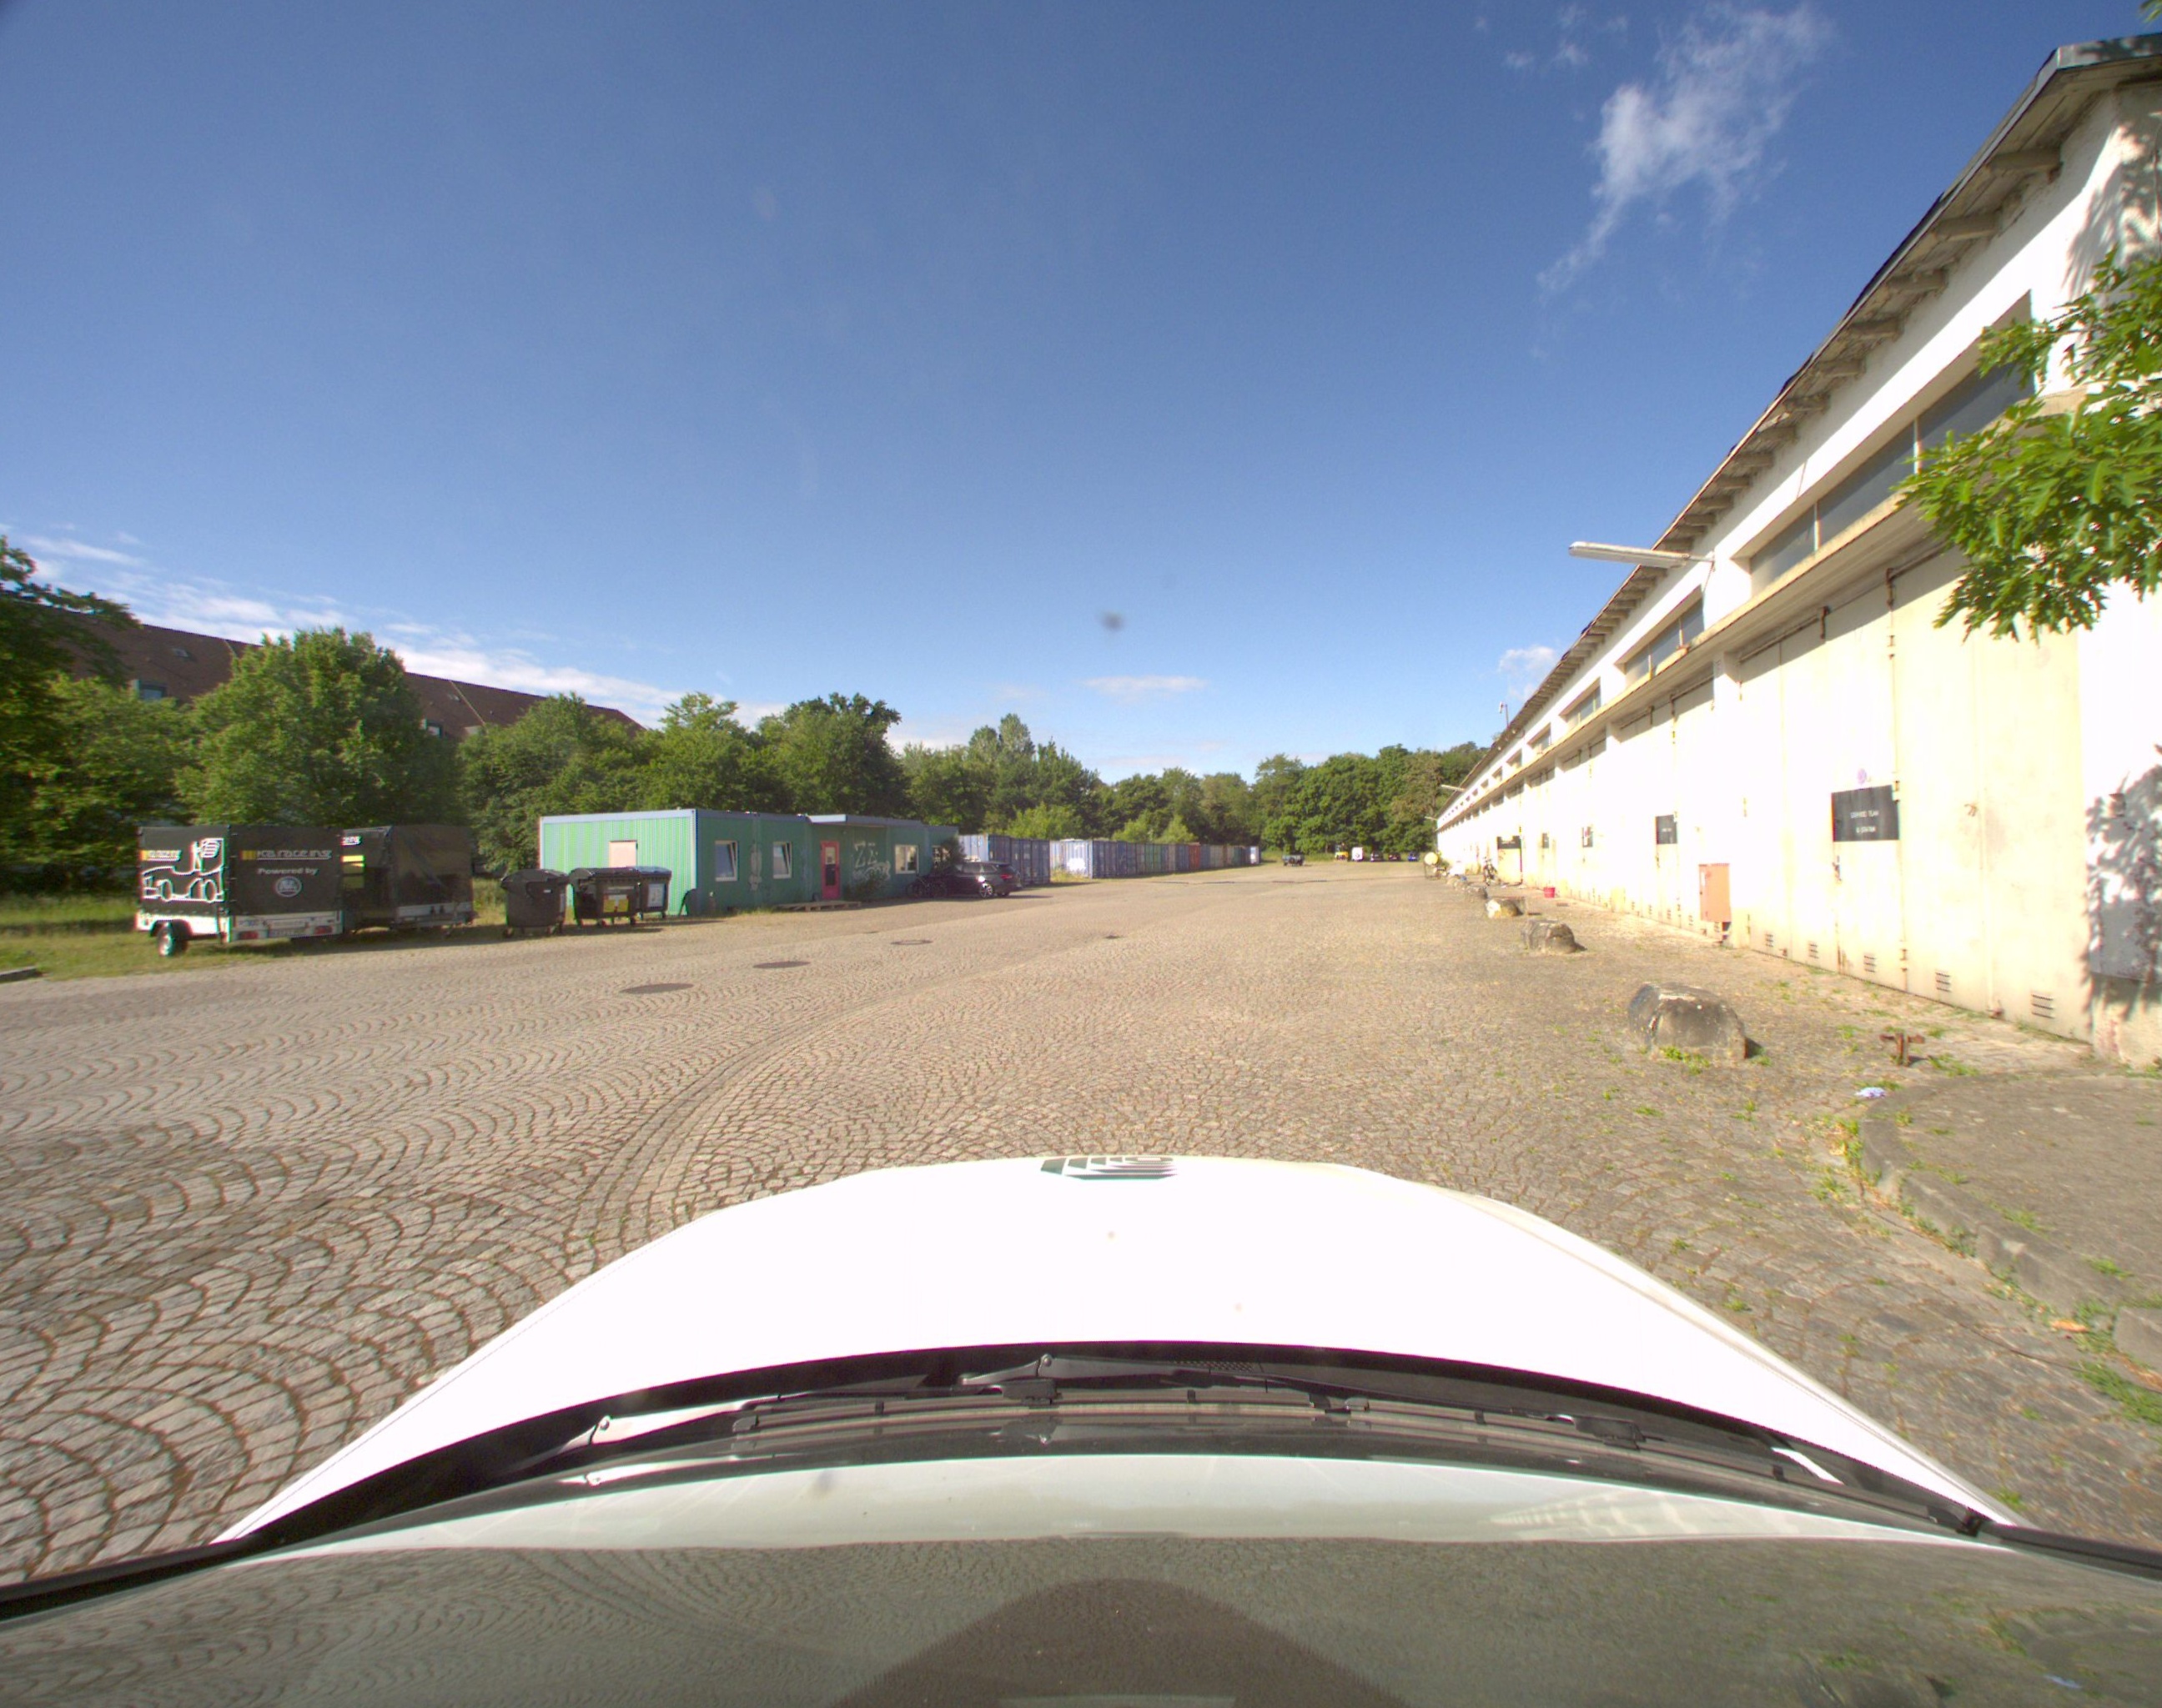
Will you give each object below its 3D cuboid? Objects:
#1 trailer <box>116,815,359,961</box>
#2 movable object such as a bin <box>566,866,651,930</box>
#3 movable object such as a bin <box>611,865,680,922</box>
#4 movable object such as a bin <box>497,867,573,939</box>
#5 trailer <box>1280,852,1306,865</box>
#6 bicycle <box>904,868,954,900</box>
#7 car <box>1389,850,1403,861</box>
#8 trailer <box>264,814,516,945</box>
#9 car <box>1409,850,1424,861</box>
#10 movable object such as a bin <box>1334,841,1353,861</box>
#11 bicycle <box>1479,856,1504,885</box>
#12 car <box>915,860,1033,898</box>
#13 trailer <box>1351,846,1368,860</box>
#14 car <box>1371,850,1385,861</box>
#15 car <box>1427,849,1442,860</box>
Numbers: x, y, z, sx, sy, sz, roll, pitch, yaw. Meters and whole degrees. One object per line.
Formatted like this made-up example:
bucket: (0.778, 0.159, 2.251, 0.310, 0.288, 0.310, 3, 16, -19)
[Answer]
trailer: (-15.830, 0.598, 15.333, 3.355, 2.470, 2.055, 0, -1, 22)
movable object such as a bin: (-11.464, 1.039, 19.798, 1.009, 1.458, 1.448, -1, -1, 21)
movable object such as a bin: (-11.540, 1.031, 21.638, 0.876, 1.458, 1.445, 0, -1, 11)
movable object such as a bin: (-11.784, 1.021, 17.646, 1.158, 1.458, 1.426, 0, -1, -26)
trailer: (27.678, 0.547, 106.200, 2.682, 1.465, 6.279, 0, 1, 20)
bicycle: (-5.789, 1.126, 31.023, 1.789, 1.170, 0.671, 0, -1, 19)
car: (45.871, 0.213, 118.536, 1.847, 1.470, 4.319, 0, 1, 21)
trailer: (-14.904, 0.523, 17.616, 4.600, 2.568, 1.960, 0, -1, 17)
car: (48.399, 0.196, 117.467, 1.728, 1.436, 4.208, 0, 2, 27)
movable object such as a bin: (39.849, -0.526, 123.742, 2.286, 2.896, 5.783, 0, 1, 23)
bicycle: (15.696, 0.626, 31.120, 0.658, 1.068, 1.835, -1, -1, 34)
car: (-4.225, 0.968, 32.383, 4.216, 1.449, 1.941, 0, -1, 19)
trailer: (41.827, -0.177, 122.315, 2.174, 2.094, 5.782, 0, 1, 22)
car: (43.437, 0.185, 119.104, 1.847, 1.589, 4.319, 0, 1, 21)
car: (51.185, 0.103, 117.884, 1.728, 1.436, 4.209, 0, 2, 29)
